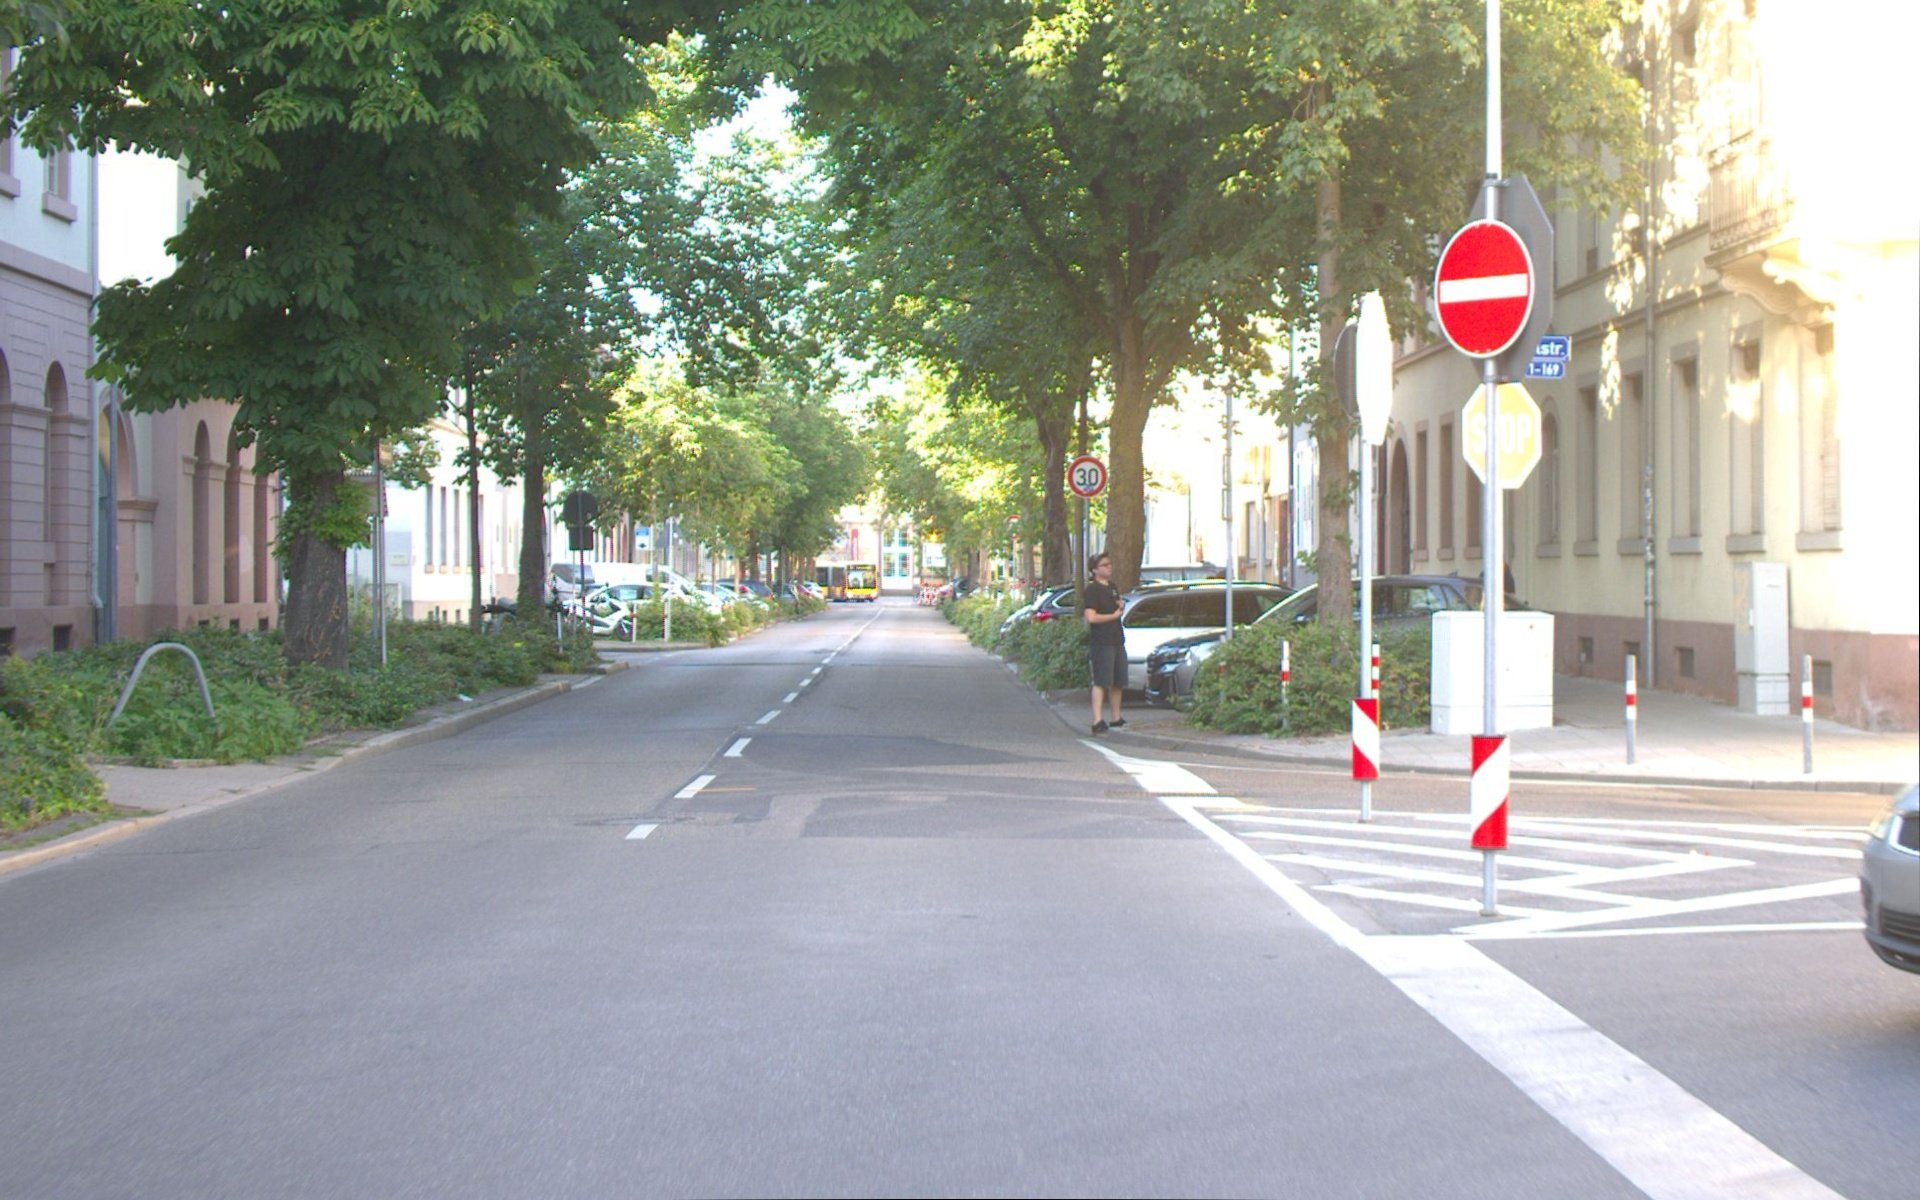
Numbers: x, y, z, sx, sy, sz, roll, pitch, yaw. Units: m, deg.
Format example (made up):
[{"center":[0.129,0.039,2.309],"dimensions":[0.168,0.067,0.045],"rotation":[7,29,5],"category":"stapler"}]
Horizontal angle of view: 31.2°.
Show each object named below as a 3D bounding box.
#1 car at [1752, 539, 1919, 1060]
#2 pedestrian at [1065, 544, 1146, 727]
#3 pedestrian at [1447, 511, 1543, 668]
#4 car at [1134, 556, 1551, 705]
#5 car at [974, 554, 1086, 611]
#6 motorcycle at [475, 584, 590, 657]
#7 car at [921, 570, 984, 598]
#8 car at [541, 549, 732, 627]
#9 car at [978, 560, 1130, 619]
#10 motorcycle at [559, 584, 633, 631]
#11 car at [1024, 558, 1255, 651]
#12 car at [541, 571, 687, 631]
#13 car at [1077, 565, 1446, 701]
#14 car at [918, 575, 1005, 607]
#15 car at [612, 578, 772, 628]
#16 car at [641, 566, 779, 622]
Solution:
[{"center":[5.080,0.633,11.604],"dimensions":[4.337,1.648,1.886],"rotation":[0,0,-19],"category":"car"},{"center":[1.507,0.356,35.499],"dimensions":[0.794,1.862,0.751],"rotation":[0,0,4],"category":"pedestrian"},{"center":[5.874,-0.127,37.788],"dimensions":[0.943,1.700,0.782],"rotation":[0,2,1],"category":"pedestrian"},{"center":[3.954,0.304,36.023],"dimensions":[4.107,1.485,1.850],"rotation":[0,1,-2],"category":"car"},{"center":[2.544,-0.635,124.193],"dimensions":[3.987,2.007,2.000],"rotation":[0,0,3],"category":"car"},{"center":[-7.407,0.355,59.650],"dimensions":[1.919,1.254,0.591],"rotation":[0,0,-1],"category":"motorcycle"},{"center":[-0.485,-1.049,227.306],"dimensions":[3.988,1.831,1.999],"rotation":[0,0,7],"category":"car"},{"center":[-8.887,-0.348,94.833],"dimensions":[5.064,2.076,2.263],"rotation":[0,1,-1],"category":"car"},{"center":[2.840,-0.337,105.075],"dimensions":[4.593,1.755,2.222],"rotation":[0,1,0],"category":"car"},{"center":[-8.491,0.179,80.249],"dimensions":[1.636,1.064,0.656],"rotation":[1,1,-1],"category":"motorcycle"},{"center":[3.209,0.074,61.927],"dimensions":[4.014,1.617,1.781],"rotation":[-1,0,-2],"category":"car"},{"center":[-8.977,0.022,89.440],"dimensions":[3.725,1.503,1.873],"rotation":[0,1,-4],"category":"car"},{"center":[3.544,0.373,40.988],"dimensions":[4.192,1.475,1.852],"rotation":[-1,1,0],"category":"car"},{"center":[0.068,-0.431,159.565],"dimensions":[3.986,1.437,1.697],"rotation":[0,1,-2],"category":"car"},{"center":[-8.929,0.105,114.904],"dimensions":[5.064,1.611,2.263],"rotation":[0,1,3],"category":"car"},{"center":[-9.512,-0.248,131.156],"dimensions":[5.064,2.076,2.263],"rotation":[0,1,1],"category":"car"}]
